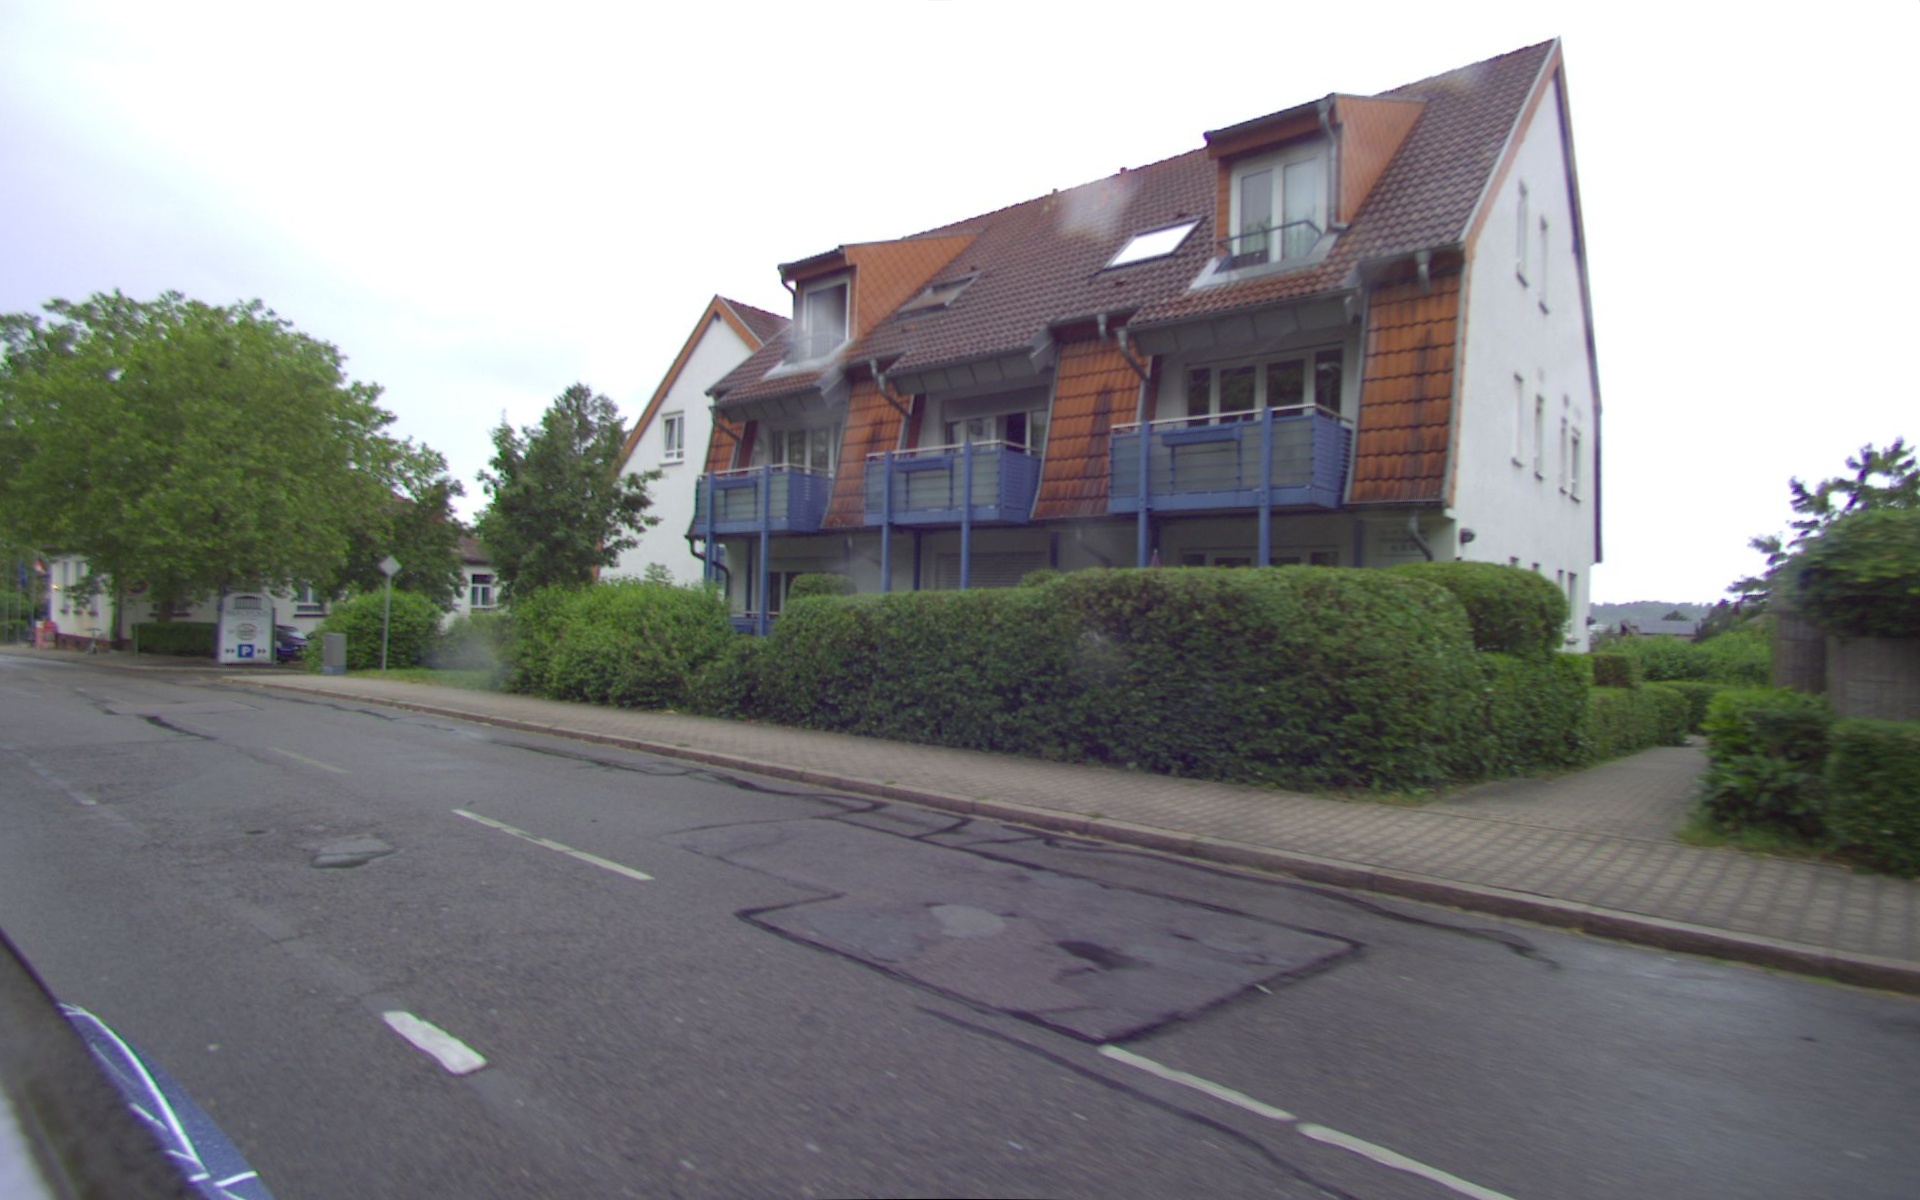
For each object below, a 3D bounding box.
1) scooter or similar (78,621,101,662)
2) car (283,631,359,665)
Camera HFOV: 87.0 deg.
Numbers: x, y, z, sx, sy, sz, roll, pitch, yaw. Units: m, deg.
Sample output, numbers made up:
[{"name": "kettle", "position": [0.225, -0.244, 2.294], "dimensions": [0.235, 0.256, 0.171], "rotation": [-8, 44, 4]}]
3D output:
[{"name": "scooter or similar", "position": [-38.389, 1.810, 44.616], "dimensions": [1.509, 1.788, 0.397], "rotation": [0, -1, 35]}, {"name": "car", "position": [-31.403, 2.328, 49.700], "dimensions": [4.279, 1.452, 1.734], "rotation": [0, -5, 38]}]
